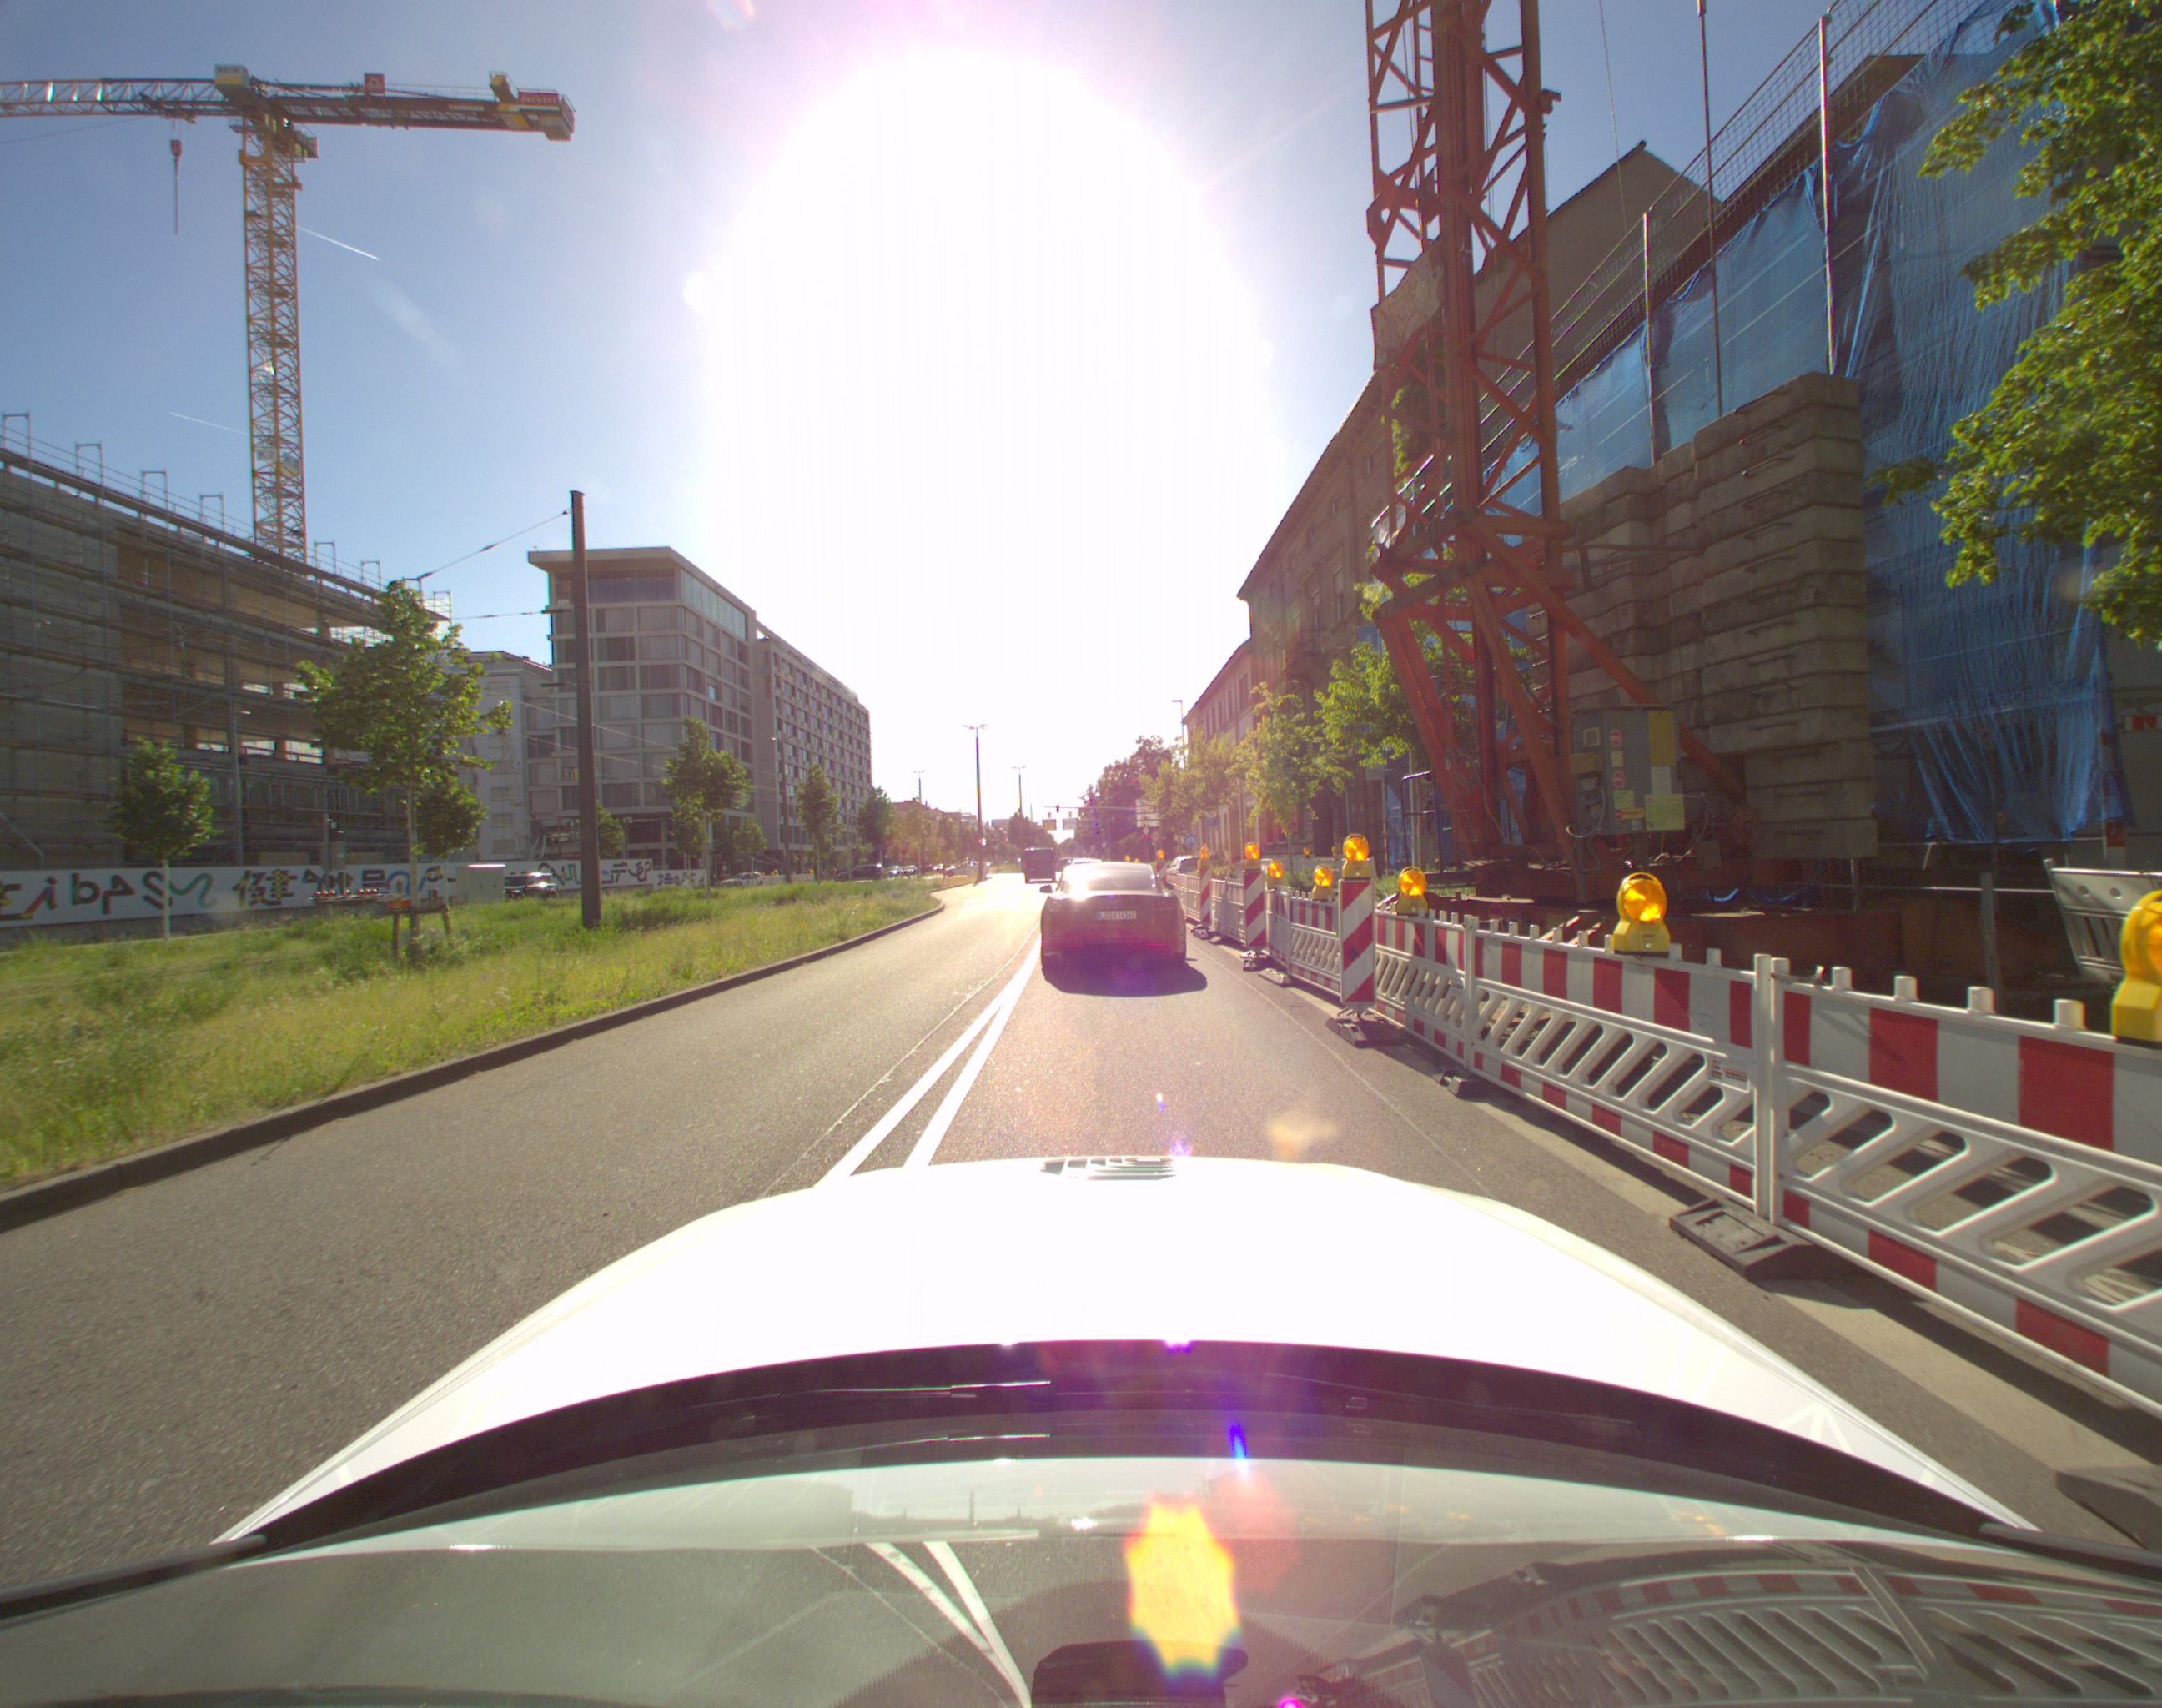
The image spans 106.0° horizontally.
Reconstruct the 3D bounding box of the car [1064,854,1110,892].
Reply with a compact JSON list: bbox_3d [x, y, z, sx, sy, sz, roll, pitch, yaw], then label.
[{"bbox_3d":[0.212,0.748,34.368,1.742,1.427,4.836,-2,0,-1],"label":"car"}]

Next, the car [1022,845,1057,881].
[{"bbox_3d":[-2.732,0.568,54.590,2.212,2.267,4.481,-1,0,-2],"label":"car"}]

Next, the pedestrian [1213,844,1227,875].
[{"bbox_3d":[8.298,0.322,48.564,0.561,1.821,0.587,-5,0,-1],"label":"pedestrian"}]

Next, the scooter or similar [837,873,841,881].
[{"bbox_3d":[-29.762,2.854,100.304,0.228,0.947,0.767,-3,0,0],"label":"scooter or similar"}]

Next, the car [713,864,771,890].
[{"bbox_3d":[-28.132,1.921,67.739,1.890,1.918,4.012,-3,0,33],"label":"car"}]

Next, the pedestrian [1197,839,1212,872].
[{"bbox_3d":[7.385,0.096,48.626,0.656,1.912,0.587,-5,0,-1],"label":"pedestrian"}]

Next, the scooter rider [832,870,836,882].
[{"bbox_3d":[-30.554,2.671,100.689,0.341,1.453,0.239,-3,0,0],"label":"scooter rider"}]

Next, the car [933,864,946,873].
[{"bbox_3d":[-27.267,2.840,156.863,1.784,1.651,4.000,-3,0,0],"label":"car"}]

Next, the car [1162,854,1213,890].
[{"bbox_3d":[5.033,0.808,39.099,1.643,1.475,4.699,-5,0,-1],"label":"car"}]

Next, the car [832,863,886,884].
[{"bbox_3d":[-20.855,1.829,76.641,4.538,1.792,1.982,-3,0,-27],"label":"car"}]

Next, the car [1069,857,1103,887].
[{"bbox_3d":[0.288,0.932,44.762,1.744,1.527,4.004,-1,0,0],"label":"car"}]

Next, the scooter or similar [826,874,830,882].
[{"bbox_3d":[-31.081,2.945,100.195,0.285,0.947,0.765,-3,0,-8],"label":"scooter or similar"}]

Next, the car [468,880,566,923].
[{"bbox_3d":[-29.594,2.452,42.924,1.901,1.918,4.333,-2,0,3],"label":"car"}]

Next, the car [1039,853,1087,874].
[{"bbox_3d":[-1.799,0.946,81.156,4.492,1.792,2.002,-3,0,4],"label":"car"}]

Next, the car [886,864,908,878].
[{"bbox_3d":[-23.918,2.217,106.040,1.784,1.651,4.000,-3,0,0],"label":"car"}]

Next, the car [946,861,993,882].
[{"bbox_3d":[-11.055,1.730,81.192,4.510,1.792,1.994,-3,0,-8],"label":"car"}]

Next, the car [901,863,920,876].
[{"bbox_3d":[-23.944,2.159,114.383,1.784,1.651,4.000,-3,0,0],"label":"car"}]

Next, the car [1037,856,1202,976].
[{"bbox_3d":[0.465,0.776,12.475,2.045,1.444,4.523,-1,0,-1],"label":"car"}]
